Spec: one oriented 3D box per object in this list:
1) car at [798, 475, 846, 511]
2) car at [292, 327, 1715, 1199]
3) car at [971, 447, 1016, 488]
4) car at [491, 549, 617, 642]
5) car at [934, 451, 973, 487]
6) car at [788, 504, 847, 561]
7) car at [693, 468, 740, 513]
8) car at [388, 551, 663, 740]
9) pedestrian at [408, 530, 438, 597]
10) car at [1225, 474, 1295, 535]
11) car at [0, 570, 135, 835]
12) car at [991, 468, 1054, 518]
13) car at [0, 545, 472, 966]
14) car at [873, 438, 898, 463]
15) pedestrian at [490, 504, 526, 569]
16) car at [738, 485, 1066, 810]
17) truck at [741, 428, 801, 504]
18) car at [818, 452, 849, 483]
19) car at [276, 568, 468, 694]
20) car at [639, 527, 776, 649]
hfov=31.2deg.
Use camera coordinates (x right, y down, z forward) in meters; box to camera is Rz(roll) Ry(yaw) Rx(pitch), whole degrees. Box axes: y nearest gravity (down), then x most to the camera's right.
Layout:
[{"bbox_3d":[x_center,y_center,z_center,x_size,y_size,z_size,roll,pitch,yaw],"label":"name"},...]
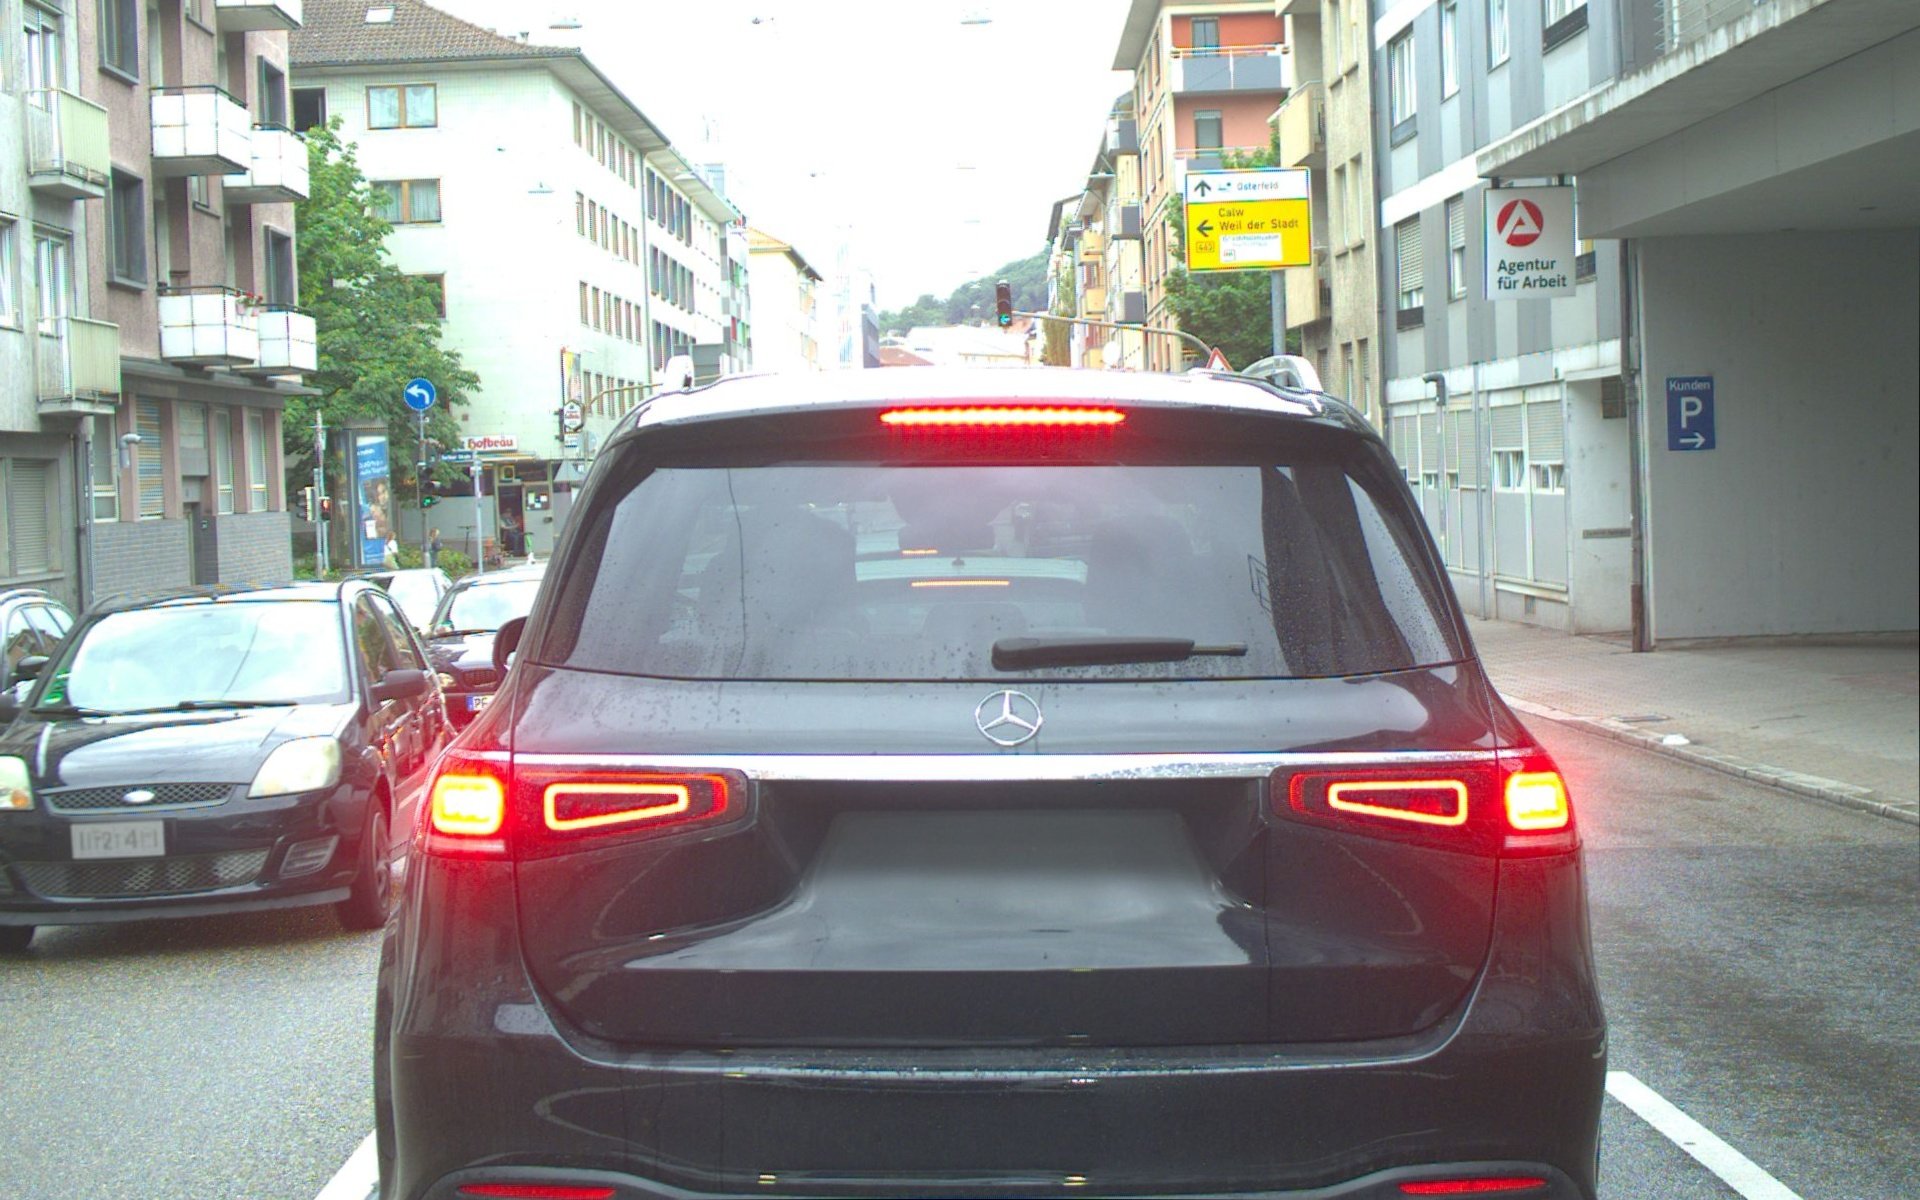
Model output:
[{"bbox_3d":[-5.635,-4.364,140.051,1.885,1.260,4.218,-3,1,-3],"label":"car"},{"bbox_3d":[0.033,0.508,7.030,1.985,1.799,4.390,1,1,-1],"label":"car"},{"bbox_3d":[1.413,-5.672,147.773,1.618,1.534,4.218,-3,1,-3],"label":"car"},{"bbox_3d":[-6.730,-0.105,57.286,1.598,1.365,4.363,-4,1,-2],"label":"car"},{"bbox_3d":[-0.310,-6.336,166.998,1.618,1.534,4.218,-3,1,-3],"label":"car"},{"bbox_3d":[-4.221,-1.981,101.230,1.618,1.534,4.218,-3,1,-3],"label":"car"},{"bbox_3d":[-9.311,-4.191,131.598,1.618,1.534,4.218,-3,1,-3],"label":"car"},{"bbox_3d":[-3.557,0.343,28.819,1.695,1.365,4.218,-4,0,0],"label":"car"},{"bbox_3d":[-14.337,-0.982,91.812,0.635,1.758,0.773,-2,1,-2],"label":"pedestrian"},{"bbox_3d":[8.231,-2.630,94.616,1.671,1.583,3.330,-2,1,2],"label":"car"},{"bbox_3d":[-6.484,0.635,21.362,1.723,1.468,4.375,-4,1,-2],"label":"car"},{"bbox_3d":[1.937,-3.330,107.714,1.618,1.382,4.218,-3,1,-3],"label":"car"},{"bbox_3d":[-3.228,0.583,15.310,1.618,1.534,4.218,-3,1,-3],"label":"car"},{"bbox_3d":[-5.459,-10.858,250.132,1.618,1.534,4.218,-3,1,-3],"label":"car"},{"bbox_3d":[-13.385,-1.876,101.875,0.923,1.895,0.706,-2,1,-2],"label":"pedestrian"},{"bbox_3d":[-0.416,0.239,20.844,1.751,1.725,4.218,-1,1,-3],"label":"car"},{"bbox_3d":[-8.604,-6.086,157.015,2.479,3.035,9.921,-3,1,-3],"label":"truck"},{"bbox_3d":[-7.135,-7.479,193.644,1.618,1.534,4.218,-3,1,-3],"label":"car"},{"bbox_3d":[-7.232,0.346,42.646,1.694,1.365,4.367,-4,1,-2],"label":"car"},{"bbox_3d":[-3.604,-0.179,49.557,1.694,1.575,4.218,-4,0,-2],"label":"car"}]
